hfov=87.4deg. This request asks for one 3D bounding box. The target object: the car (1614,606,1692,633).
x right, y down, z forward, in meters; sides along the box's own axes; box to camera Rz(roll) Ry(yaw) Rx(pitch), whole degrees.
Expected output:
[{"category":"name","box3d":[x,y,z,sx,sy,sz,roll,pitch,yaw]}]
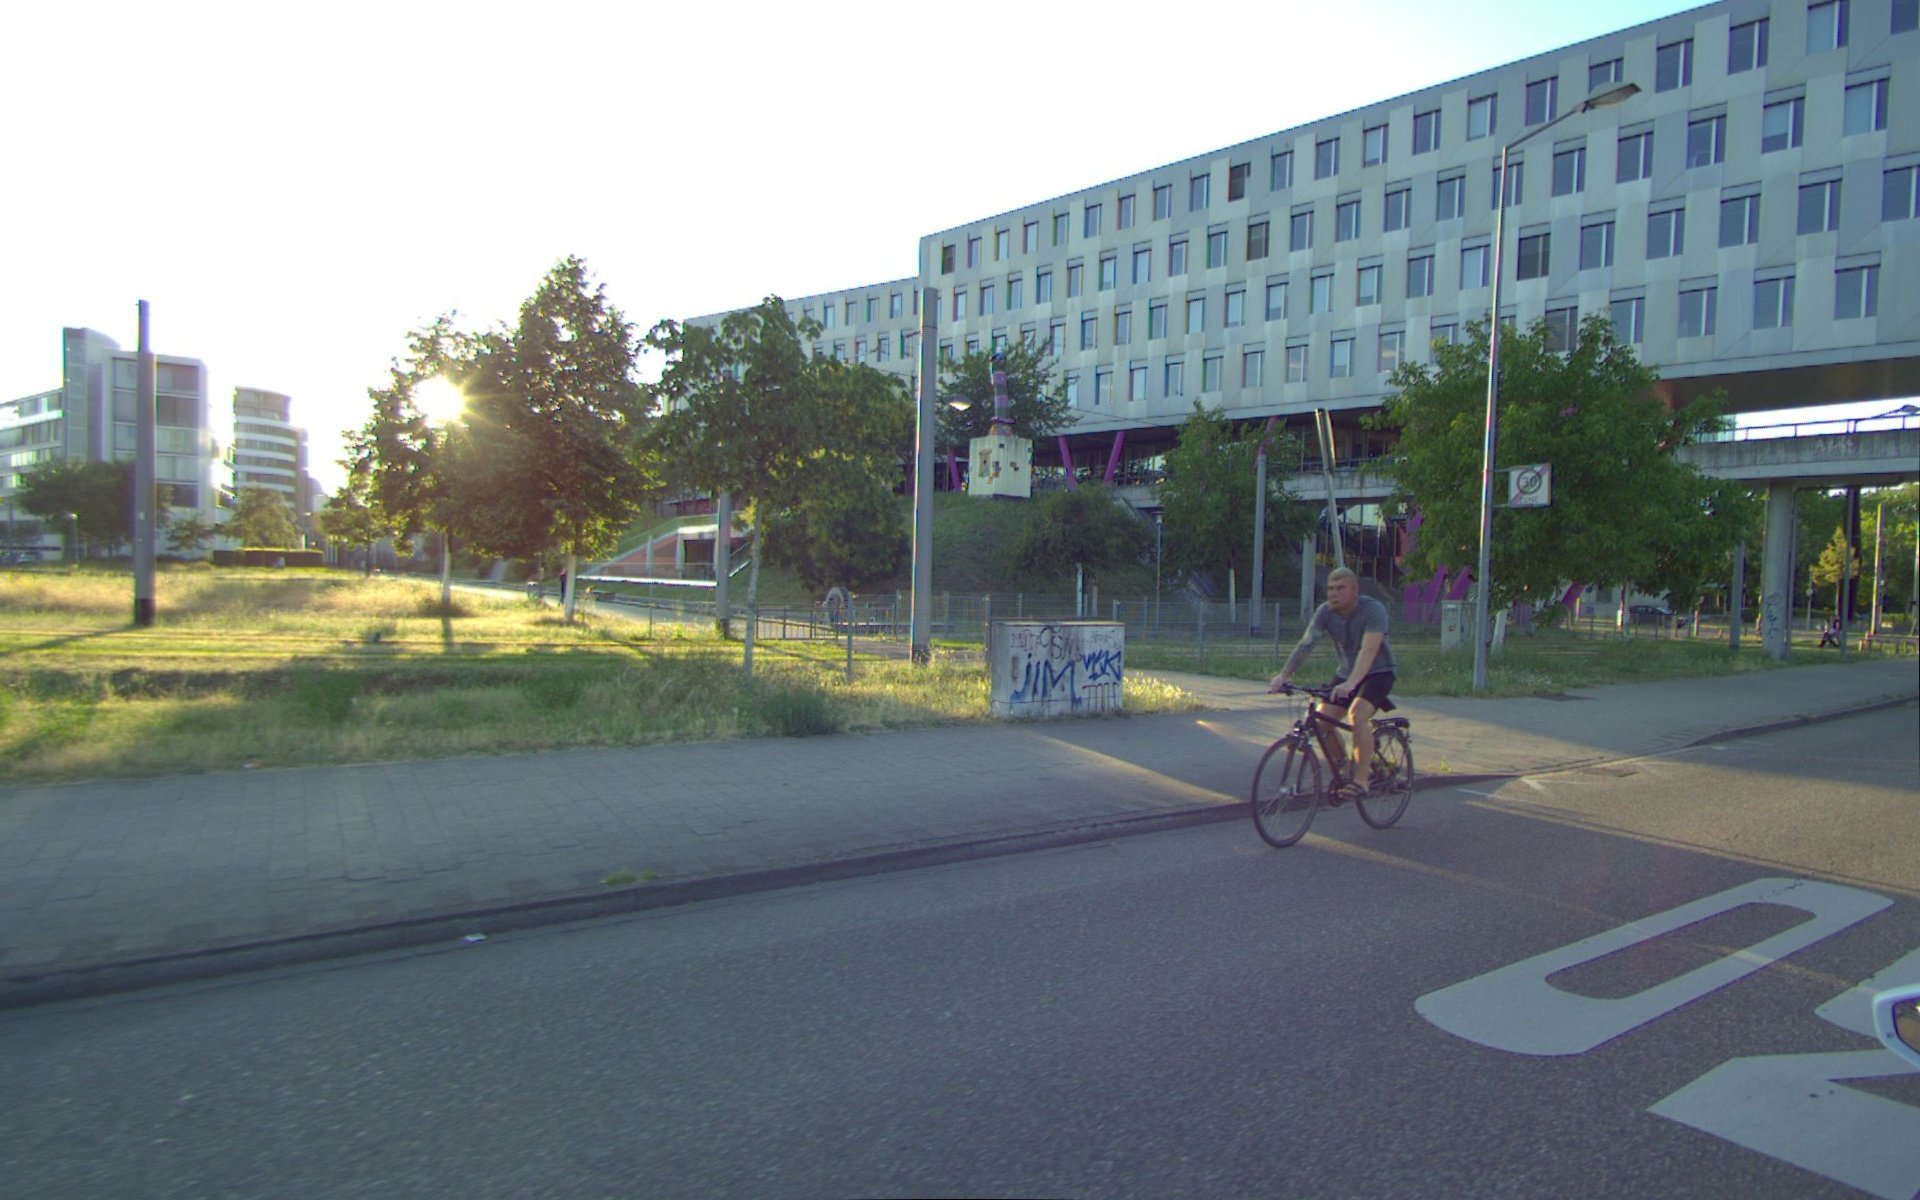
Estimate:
[{"category":"car","box3d":[52.704,1.449,76.480,1.926,1.841,4.436,0,2,-36]}]

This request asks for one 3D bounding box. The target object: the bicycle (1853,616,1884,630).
[{"category":"bicycle","box3d":[81.514,2.037,90.163,1.934,1.143,0.559,2,2,30]}]

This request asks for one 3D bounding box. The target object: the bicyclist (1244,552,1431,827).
[{"category":"bicyclist","box3d":[2.497,0.541,6.650,1.024,1.685,0.612,0,2,-30]}]

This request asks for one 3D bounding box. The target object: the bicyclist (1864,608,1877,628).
[{"category":"bicyclist","box3d":[81.656,1.572,90.084,0.746,1.746,0.551,2,2,30]}]

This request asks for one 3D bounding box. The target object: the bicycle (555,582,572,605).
[{"category":"bicycle","box3d":[-16.446,-0.257,41.648,0.426,0.912,1.224,0,2,-33]}]

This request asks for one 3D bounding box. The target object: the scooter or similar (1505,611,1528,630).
[{"category":"scooter or similar","box3d":[37.485,1.406,67.670,0.499,1.217,1.203,0,2,-38]}]

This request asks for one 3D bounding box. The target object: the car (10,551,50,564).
[{"category":"car","box3d":[-127.774,-5.858,138.003,3.765,1.635,1.636,0,2,-34]}]

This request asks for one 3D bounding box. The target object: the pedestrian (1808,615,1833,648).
[{"category":"pedestrian","box3d":[44.367,1.618,51.781,0.700,1.646,0.685,1,2,-18]}]

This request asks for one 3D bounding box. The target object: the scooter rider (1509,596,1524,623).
[{"category":"scooter rider","box3d":[37.494,0.622,67.660,0.439,1.807,0.700,0,2,-38]}]

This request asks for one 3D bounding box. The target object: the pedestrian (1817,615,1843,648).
[{"category":"pedestrian","box3d":[45.091,1.621,52.049,0.700,1.686,0.700,1,2,-18]}]

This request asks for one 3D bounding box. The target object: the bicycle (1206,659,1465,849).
[{"category":"bicycle","box3d":[2.563,0.974,6.772,1.902,1.057,0.536,0,2,-30]}]

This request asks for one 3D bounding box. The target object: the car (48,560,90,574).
[{"category":"car","box3d":[-113.590,-4.198,128.088,3.839,1.635,1.687,0,2,-34]}]

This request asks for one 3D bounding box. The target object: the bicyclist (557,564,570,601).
[{"category":"bicyclist","box3d":[-16.423,-0.733,41.620,0.420,1.515,0.509,0,2,-33]}]
